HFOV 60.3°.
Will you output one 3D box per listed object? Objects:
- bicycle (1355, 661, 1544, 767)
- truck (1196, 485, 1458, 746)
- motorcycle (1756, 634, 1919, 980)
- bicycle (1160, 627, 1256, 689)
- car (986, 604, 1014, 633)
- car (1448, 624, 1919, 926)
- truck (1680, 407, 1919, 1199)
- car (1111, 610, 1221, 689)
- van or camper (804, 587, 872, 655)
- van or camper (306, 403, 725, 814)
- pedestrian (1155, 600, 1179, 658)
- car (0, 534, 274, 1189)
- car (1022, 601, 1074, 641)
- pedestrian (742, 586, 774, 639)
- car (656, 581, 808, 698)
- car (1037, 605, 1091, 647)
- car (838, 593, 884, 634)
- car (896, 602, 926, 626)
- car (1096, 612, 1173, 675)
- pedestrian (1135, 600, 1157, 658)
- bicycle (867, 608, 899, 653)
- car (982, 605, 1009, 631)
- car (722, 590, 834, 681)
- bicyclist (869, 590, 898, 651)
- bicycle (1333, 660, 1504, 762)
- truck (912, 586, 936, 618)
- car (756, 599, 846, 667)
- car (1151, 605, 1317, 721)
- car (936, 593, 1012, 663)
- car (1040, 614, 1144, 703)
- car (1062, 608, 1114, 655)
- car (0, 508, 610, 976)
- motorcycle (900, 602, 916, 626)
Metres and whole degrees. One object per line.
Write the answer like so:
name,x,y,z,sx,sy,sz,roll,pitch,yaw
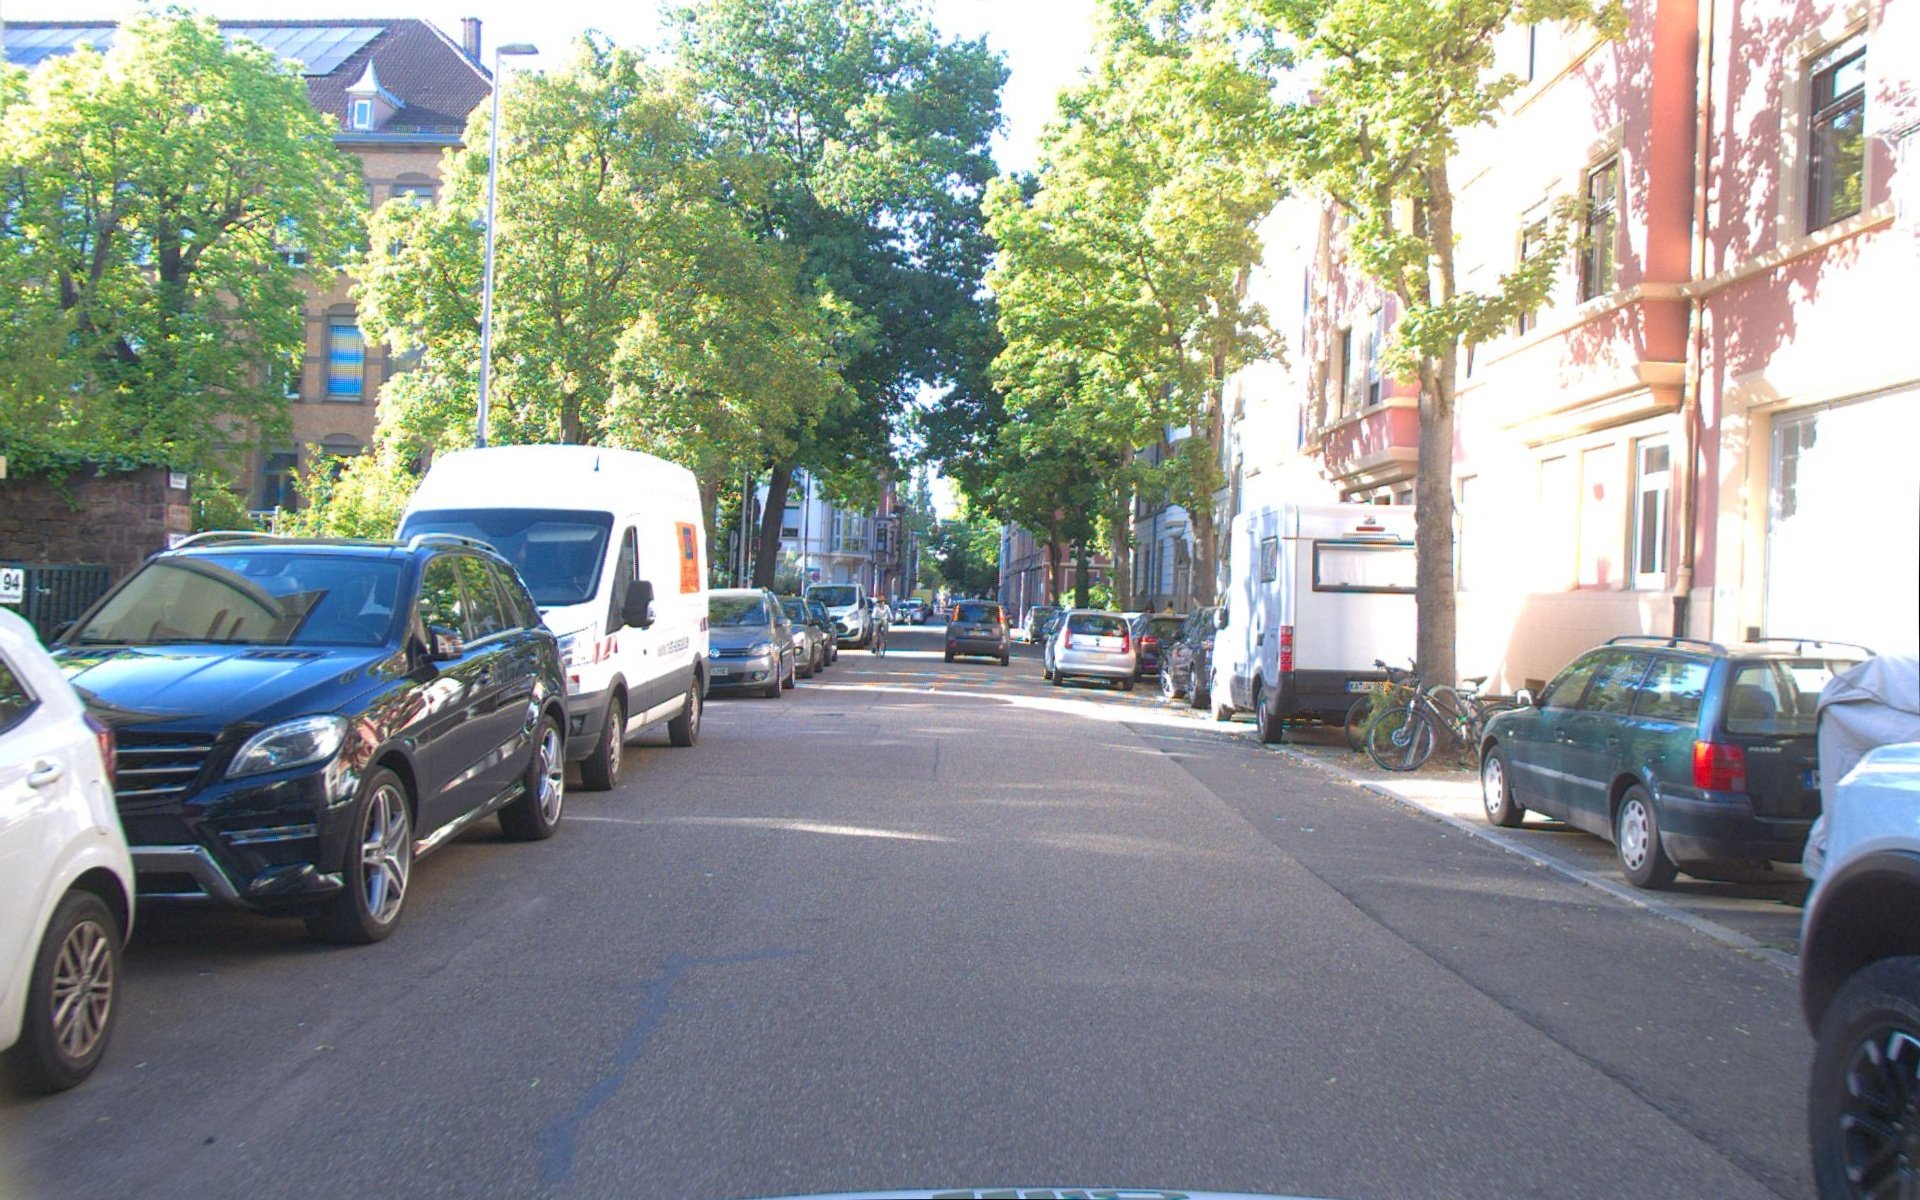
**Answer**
bicycle,5.047,1.169,17.098,1.748,0.965,0.579,3,0,1
truck,4.680,0.175,22.167,2.031,3.020,6.107,0,0,-1
motorcycle,4.766,0.961,7.842,0.911,1.512,2.138,3,0,1
bicycle,4.841,1.122,32.328,1.774,1.187,0.569,0,0,-2
car,2.463,1.128,102.277,1.629,1.698,3.757,4,0,0
car,4.928,0.996,11.419,1.715,1.556,4.781,2,0,1
truck,3.014,0.607,1.976,1.791,1.983,5.540,3,0,0
car,4.533,1.055,36.973,1.750,1.540,4.458,3,0,-1
van or camper,-3.791,0.631,52.209,1.883,2.014,5.460,-1,0,-1
van or camper,-3.481,0.061,14.336,2.085,2.817,5.850,0,0,-1
pedestrian,6.416,0.889,51.184,0.583,1.731,0.689,3,0,1
car,-3.089,0.607,3.499,1.602,1.579,4.087,1,-1,-1
car,3.776,0.880,71.677,1.753,1.578,4.407,3,0,-3
pedestrian,-6.398,0.395,52.479,0.863,1.604,0.529,3,-1,0
car,-3.372,0.545,25.181,1.744,1.618,4.468,0,0,-1
car,4.146,1.018,66.187,1.579,1.504,3.866,3,0,-5
car,-4.041,0.544,68.028,1.788,1.581,4.131,-1,0,-3
car,-3.080,0.886,104.678,1.760,1.457,3.925,-1,0,0
car,4.516,1.092,43.195,1.564,1.514,3.748,2,0,0
pedestrian,5.757,0.892,51.317,0.509,1.765,0.878,3,0,1
bicycle,-1.977,0.764,42.539,0.651,1.096,1.685,3,0,2
car,2.268,1.140,106.769,1.629,1.531,3.757,4,0,0
car,-3.383,0.632,31.385,1.642,1.600,4.151,-1,0,0
bicyclist,-1.969,0.528,42.541,0.638,1.535,0.625,3,0,1
bicycle,5.092,1.231,18.411,1.670,1.017,0.705,3,0,-7
truck,-3.405,0.203,157.293,2.028,2.977,5.068,-1,0,0
car,-3.563,0.705,37.681,1.679,1.420,4.778,-1,0,-2
car,4.613,1.008,28.572,1.847,1.746,4.942,2,0,-2
car,0.313,0.661,40.926,1.600,1.577,3.262,2,0,-4
car,2.625,1.132,33.626,1.645,1.571,3.799,4,0,-1
car,4.456,1.085,58.027,1.489,1.537,3.543,2,0,0
car,-3.227,0.518,8.569,1.837,1.715,4.968,1,0,-1
motorcycle,-3.191,0.854,101.380,0.684,1.486,1.747,1,0,-10
